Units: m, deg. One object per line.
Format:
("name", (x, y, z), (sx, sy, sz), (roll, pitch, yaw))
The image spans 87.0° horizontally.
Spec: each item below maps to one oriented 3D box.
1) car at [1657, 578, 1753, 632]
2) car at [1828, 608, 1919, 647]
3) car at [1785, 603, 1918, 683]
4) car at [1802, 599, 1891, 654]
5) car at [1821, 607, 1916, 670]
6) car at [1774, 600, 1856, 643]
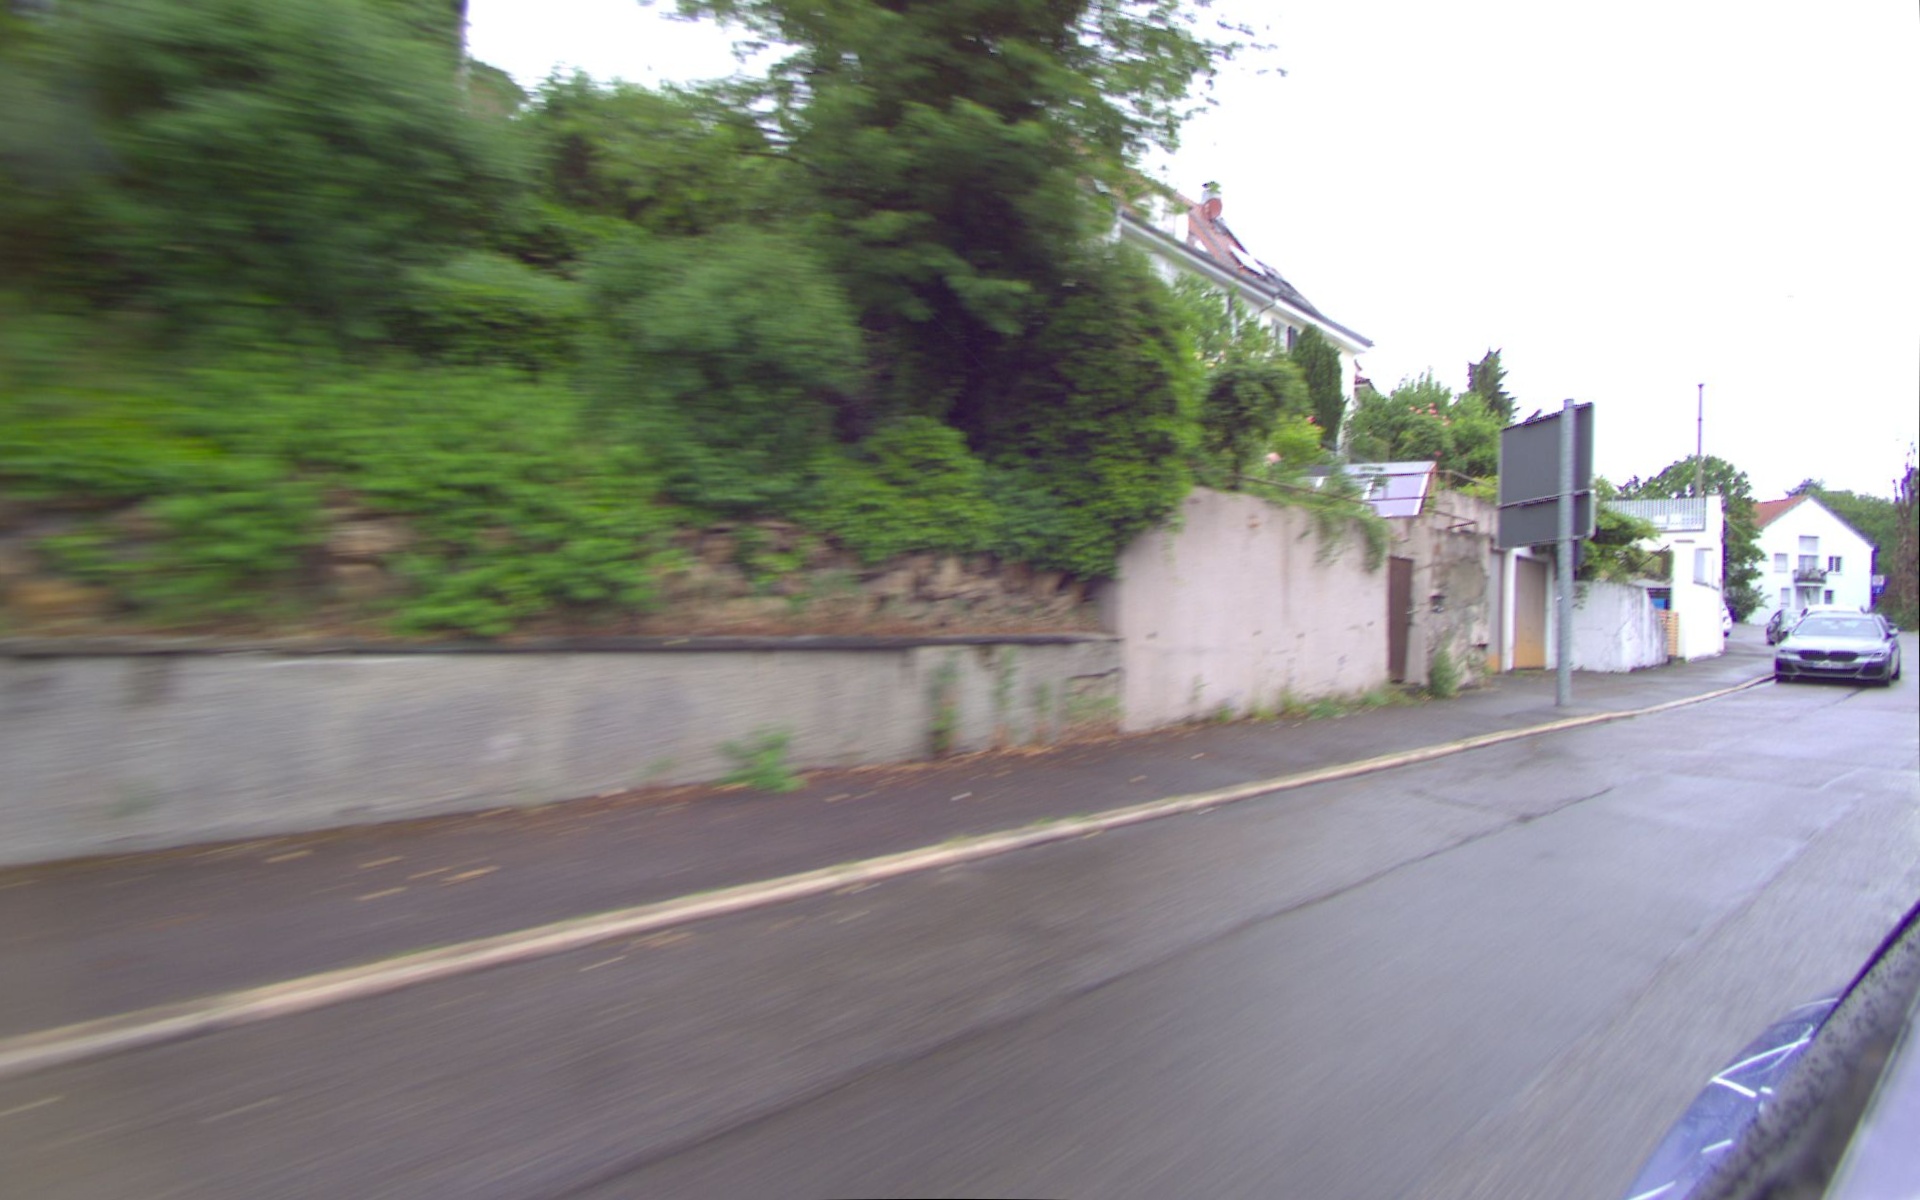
("car", (38.603, 0.185, 52.603), (2.077, 2.573, 5.592), (2, 2, 16))
("car", (39.110, 1.118, 42.978), (2.143, 1.515, 4.667), (0, 0, 24))
("car", (19.341, 0.839, 21.889), (4.627, 1.515, 1.790), (0, 0, -44))
("car", (29.567, 0.826, 33.863), (1.797, 1.670, 4.157), (0, 0, 35))
("car", (23.043, 0.907, 25.630), (1.641, 1.455, 4.106), (0, -1, 44))
("car", (32.457, 0.783, 38.516), (1.670, 1.502, 4.156), (0, 0, 31))
